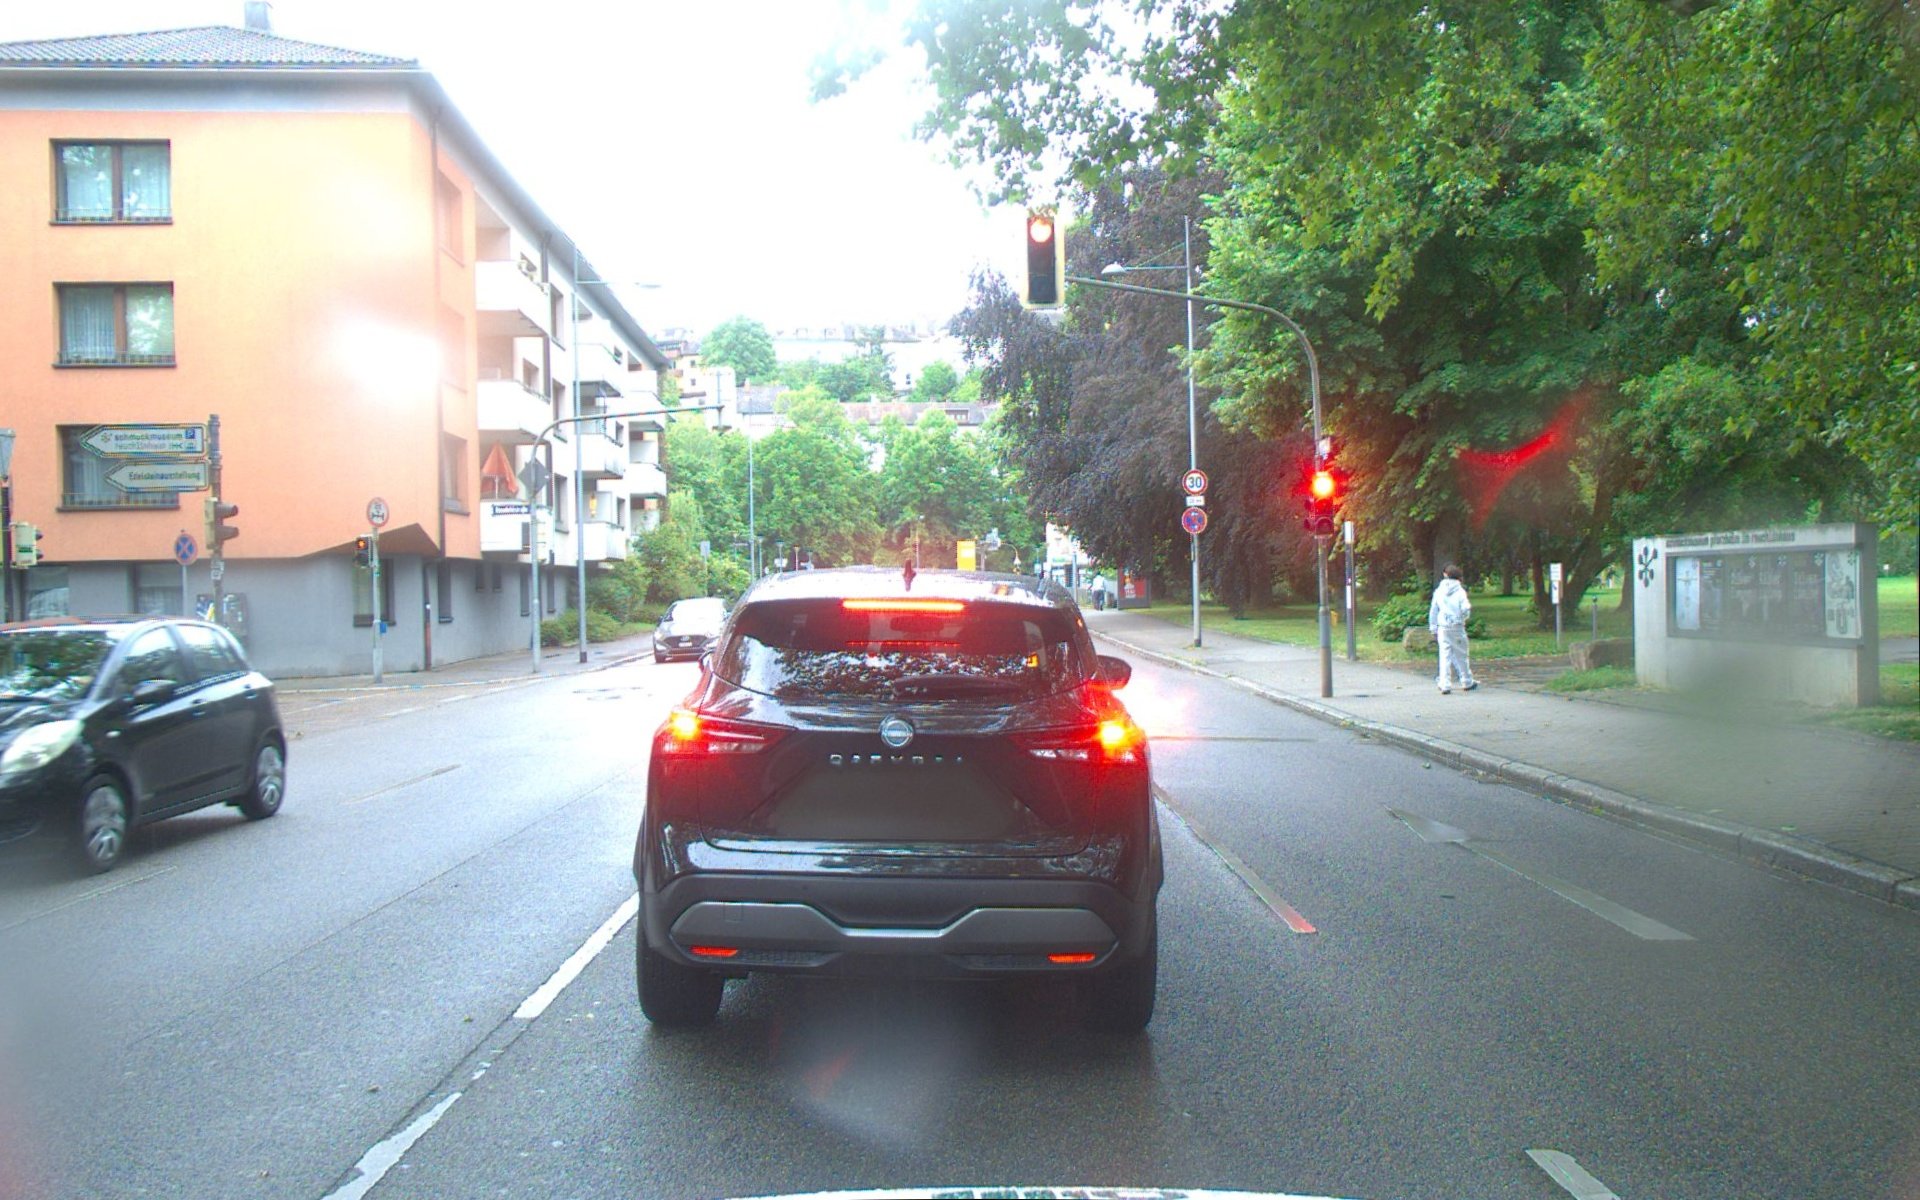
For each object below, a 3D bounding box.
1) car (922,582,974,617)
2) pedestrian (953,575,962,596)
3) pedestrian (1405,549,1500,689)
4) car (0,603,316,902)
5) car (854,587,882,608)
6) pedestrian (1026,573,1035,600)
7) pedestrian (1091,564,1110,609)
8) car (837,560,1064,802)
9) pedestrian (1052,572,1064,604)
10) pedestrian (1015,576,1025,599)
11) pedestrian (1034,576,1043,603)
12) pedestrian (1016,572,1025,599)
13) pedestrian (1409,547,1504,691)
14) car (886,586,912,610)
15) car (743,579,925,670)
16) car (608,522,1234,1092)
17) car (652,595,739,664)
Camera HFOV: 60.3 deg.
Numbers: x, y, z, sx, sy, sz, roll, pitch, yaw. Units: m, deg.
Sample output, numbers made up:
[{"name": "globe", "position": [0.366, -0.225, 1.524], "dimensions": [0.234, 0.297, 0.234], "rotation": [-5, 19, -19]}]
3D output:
[{"name": "car", "position": [-0.569, -0.032, 73.381], "dimensions": [1.791, 1.428, 4.644], "rotation": [-2, 0, -7]}, {"name": "pedestrian", "position": [-0.212, -1.178, 135.068], "dimensions": [0.498, 1.702, 0.658], "rotation": [-2, 0, 27]}, {"name": "pedestrian", "position": [7.036, 0.260, 23.639], "dimensions": [1.017, 1.908, 0.656], "rotation": [-4, 0, -11]}, {"name": "car", "position": [-5.824, 0.846, 10.753], "dimensions": [1.759, 1.560, 3.867], "rotation": [-2, 0, -1]}, {"name": "car", "position": [-7.100, -0.199, 127.836], "dimensions": [1.930, 1.559, 3.967], "rotation": [-2, 0, -1]}, {"name": "pedestrian", "position": [4.904, -0.915, 114.893], "dimensions": [0.498, 1.833, 0.659], "rotation": [-2, 0, -1]}, {"name": "pedestrian", "position": [6.415, -0.618, 75.536], "dimensions": [0.710, 2.049, 0.851], "rotation": [-2, 0, -1]}, {"name": "car", "position": [-0.099, 0.597, 14.363], "dimensions": [1.664, 1.776, 3.640], "rotation": [-2, 0, -1]}, {"name": "pedestrian", "position": [5.729, -0.701, 96.855], "dimensions": [0.498, 1.833, 0.619], "rotation": [-2, 0, 22]}, {"name": "pedestrian", "position": [4.604, -0.953, 126.271], "dimensions": [0.498, 1.702, 0.658], "rotation": [-2, 0, 27]}, {"name": "pedestrian", "position": [5.436, -0.701, 114.231], "dimensions": [0.498, 1.833, 0.619], "rotation": [-2, 0, -2]}, {"name": "pedestrian", "position": [4.217, -1.019, 114.934], "dimensions": [0.498, 1.833, 0.619], "rotation": [-2, 0, -1]}, {"name": "pedestrian", "position": [6.870, 0.255, 22.885], "dimensions": [1.026, 1.908, 0.650], "rotation": [-4, 1, -33]}, {"name": "car", "position": [-4.140, -0.131, 112.619], "dimensions": [1.601, 1.559, 3.967], "rotation": [-2, 0, -1]}, {"name": "car", "position": [-2.538, 0.464, 34.377], "dimensions": [1.689, 1.707, 4.308], "rotation": [-2, 0, 28]}, {"name": "car", "position": [-0.138, 0.613, 6.980], "dimensions": [1.874, 1.709, 3.999], "rotation": [0, 0, -1]}, {"name": "car", "position": [-6.466, 0.679, 40.782], "dimensions": [1.760, 1.560, 3.864], "rotation": [-2, 0, -4]}]
